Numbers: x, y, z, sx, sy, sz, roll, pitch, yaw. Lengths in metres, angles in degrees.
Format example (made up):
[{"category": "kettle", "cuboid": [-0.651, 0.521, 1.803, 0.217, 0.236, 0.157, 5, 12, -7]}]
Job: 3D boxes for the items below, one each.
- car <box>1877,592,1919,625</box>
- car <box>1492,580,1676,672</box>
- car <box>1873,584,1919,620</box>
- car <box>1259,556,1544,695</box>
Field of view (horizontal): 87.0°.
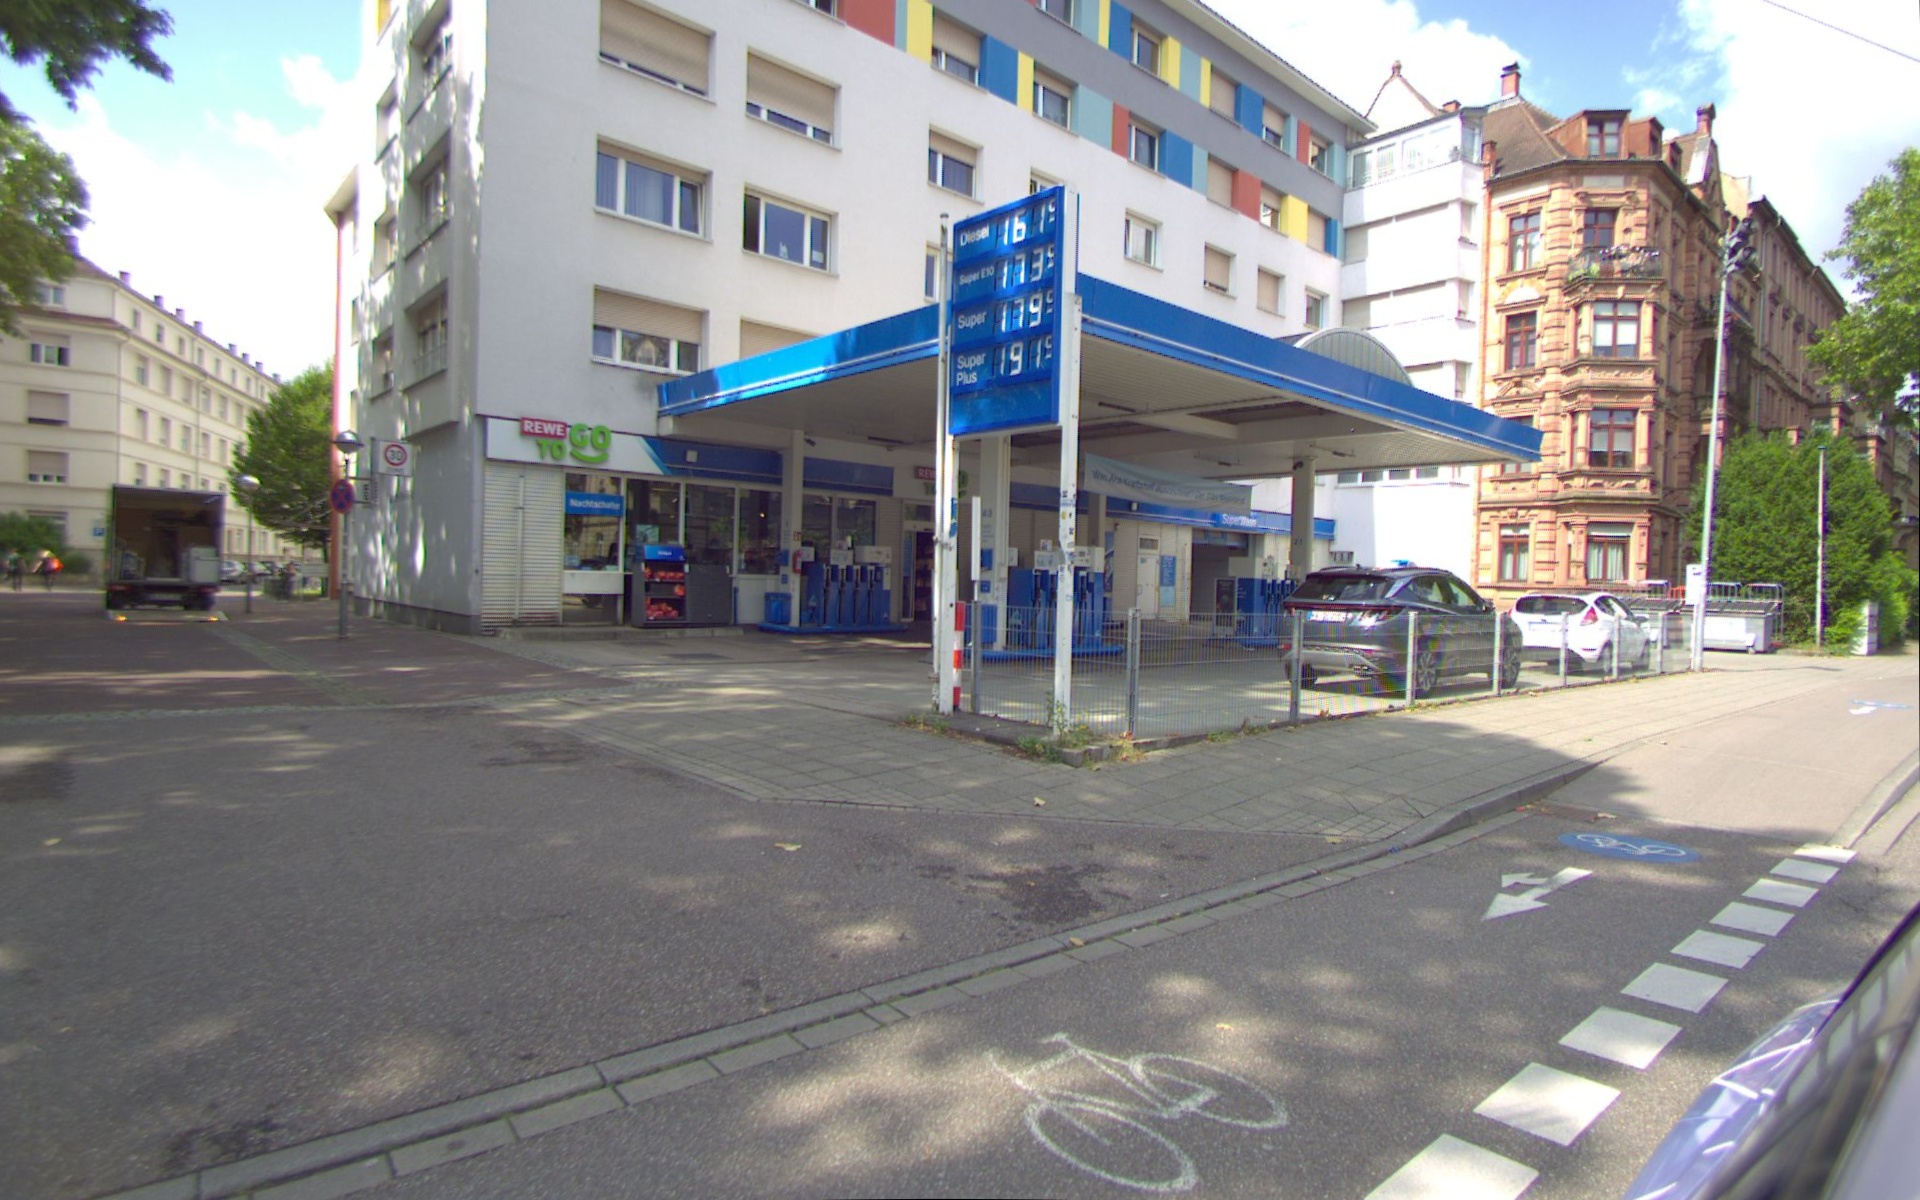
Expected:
[{"category": "car", "cuboid": [53.904, 0.497, 55.920, 4.717, 1.804, 1.975, 1, 1, 42]}, {"category": "car", "cuboid": [11.417, 0.425, 18.424, 3.932, 1.473, 1.809, 1, 1, -42]}, {"category": "car", "cuboid": [57.326, 0.225, 60.128, 4.400, 1.962, 1.952, 7, 4, 44]}, {"category": "car", "cuboid": [6.191, 0.290, 13.943, 4.501, 1.622, 1.809, 1, 1, -40]}]
